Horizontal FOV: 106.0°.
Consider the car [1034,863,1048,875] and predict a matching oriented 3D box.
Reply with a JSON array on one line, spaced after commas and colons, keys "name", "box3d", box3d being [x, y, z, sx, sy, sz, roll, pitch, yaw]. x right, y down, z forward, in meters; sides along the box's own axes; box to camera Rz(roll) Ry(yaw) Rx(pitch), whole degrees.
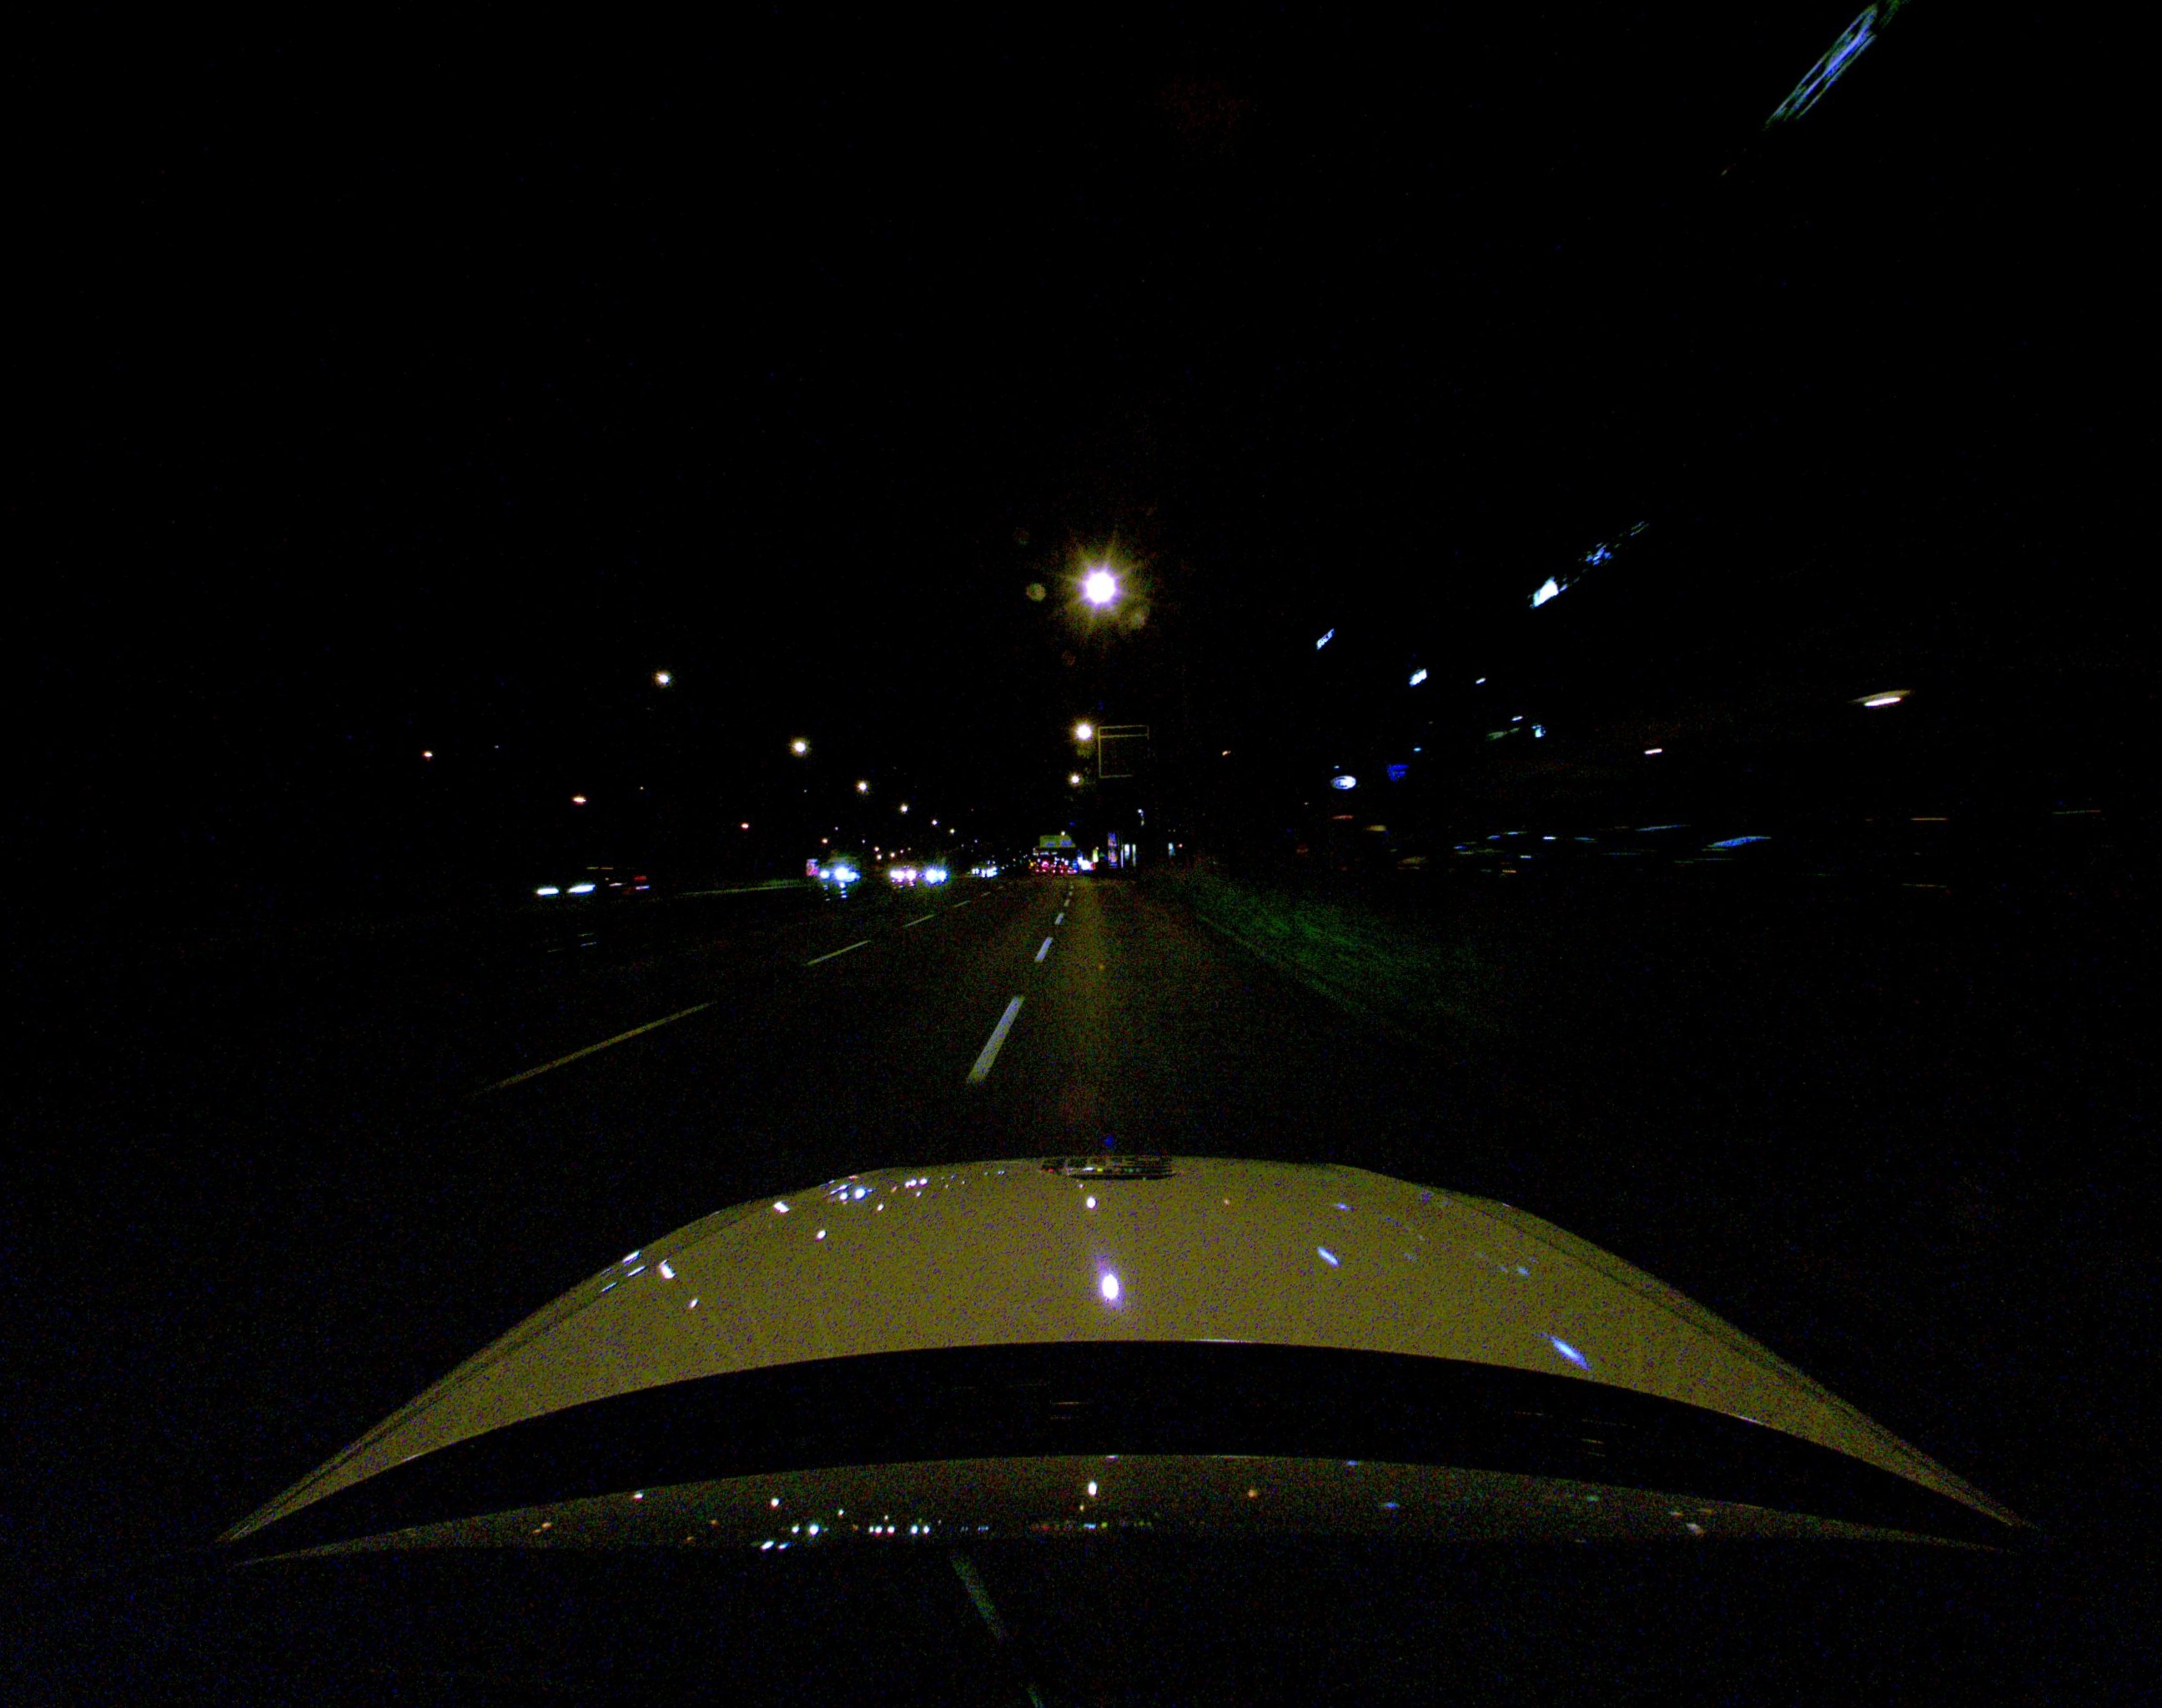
[{"name": "car", "box3d": [-7.382, 2.747, 151.166, 2.254, 2.014, 4.827, -1, -1, 1]}]

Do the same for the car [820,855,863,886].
[{"name": "car", "box3d": [-22.992, 1.566, 78.380, 2.140, 2.671, 6.955, -4, -1, -2]}]

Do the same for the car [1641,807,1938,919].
[{"name": "car", "box3d": [11.043, 0.079, 12.716, 4.002, 1.391, 1.814, -4, 1, -21]}]

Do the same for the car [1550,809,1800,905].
[{"name": "car", "box3d": [11.259, 0.025, 15.485, 3.998, 1.470, 1.822, -4, 0, -18]}]

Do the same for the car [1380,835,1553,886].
[{"name": "car", "box3d": [11.107, 0.148, 23.478, 4.650, 1.264, 1.932, -2, 1, -24]}]

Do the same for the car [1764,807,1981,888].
[{"name": "car", "box3d": [16.124, -0.112, 16.697, 1.328, 1.486, 3.037, -1, 0, -39]}]

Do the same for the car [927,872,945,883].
[{"name": "car", "box3d": [-21.111, 3.417, 118.826, 1.861, 1.429, 4.954, -1, -1, -1]}]

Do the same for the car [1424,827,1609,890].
[{"name": "car", "box3d": [11.091, 0.072, 20.819, 3.996, 1.423, 1.899, -2, 1, -16]}]

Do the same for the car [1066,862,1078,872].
[{"name": "car", "box3d": [-1.831, 2.681, 171.237, 2.418, 2.113, 4.827, -1, -1, 1]}]

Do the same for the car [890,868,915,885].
[{"name": "car", "box3d": [-19.710, 2.478, 89.999, 1.989, 1.594, 3.995, -3, 0, -4]}]

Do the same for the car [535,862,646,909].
[{"name": "car", "box3d": [-19.456, 1.204, 32.534, 1.773, 1.713, 4.228, -1, -1, 2]}]

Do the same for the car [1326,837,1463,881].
[{"name": "car", "box3d": [10.912, 0.161, 28.427, 4.125, 1.420, 1.869, -1, -1, -12]}]

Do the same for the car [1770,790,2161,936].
[{"name": "car", "box3d": [11.116, 0.055, 10.048, 3.987, 1.381, 1.803, -4, 0, -9]}]

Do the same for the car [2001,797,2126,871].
[{"name": "car", "box3d": [24.260, -0.463, 20.075, 4.340, 1.654, 1.639, -1, -1, -36]}]

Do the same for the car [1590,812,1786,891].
[{"name": "car", "box3d": [16.115, -0.011, 21.776, 1.596, 1.796, 3.824, -1, -3, -39]}]

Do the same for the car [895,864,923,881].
[{"name": "car", "box3d": [-16.353, 1.757, 77.611, 1.615, 1.440, 4.338, -3, -1, 1]}]

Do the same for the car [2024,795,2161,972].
[{"name": "car", "box3d": [10.836, 0.099, 7.084, 4.030, 1.373, 1.817, -5, 0, -15]}]

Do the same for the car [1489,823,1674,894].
[{"name": "car", "box3d": [11.041, 0.081, 17.989, 3.616, 1.433, 1.667, -1, -1, -22]}]

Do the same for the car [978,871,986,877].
[{"name": "car", "box3d": [-29.706, 6.025, 244.314, 1.859, 1.750, 3.698, -1, -1, -2]}]

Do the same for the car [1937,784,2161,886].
[{"name": "car", "box3d": [16.036, -0.294, 12.471, 1.632, 1.464, 3.757, -2, 0, -31]}]

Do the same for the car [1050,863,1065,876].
[{"name": "car", "box3d": [-4.185, 2.769, 146.924, 2.347, 2.129, 4.827, -1, -1, 1]}]
